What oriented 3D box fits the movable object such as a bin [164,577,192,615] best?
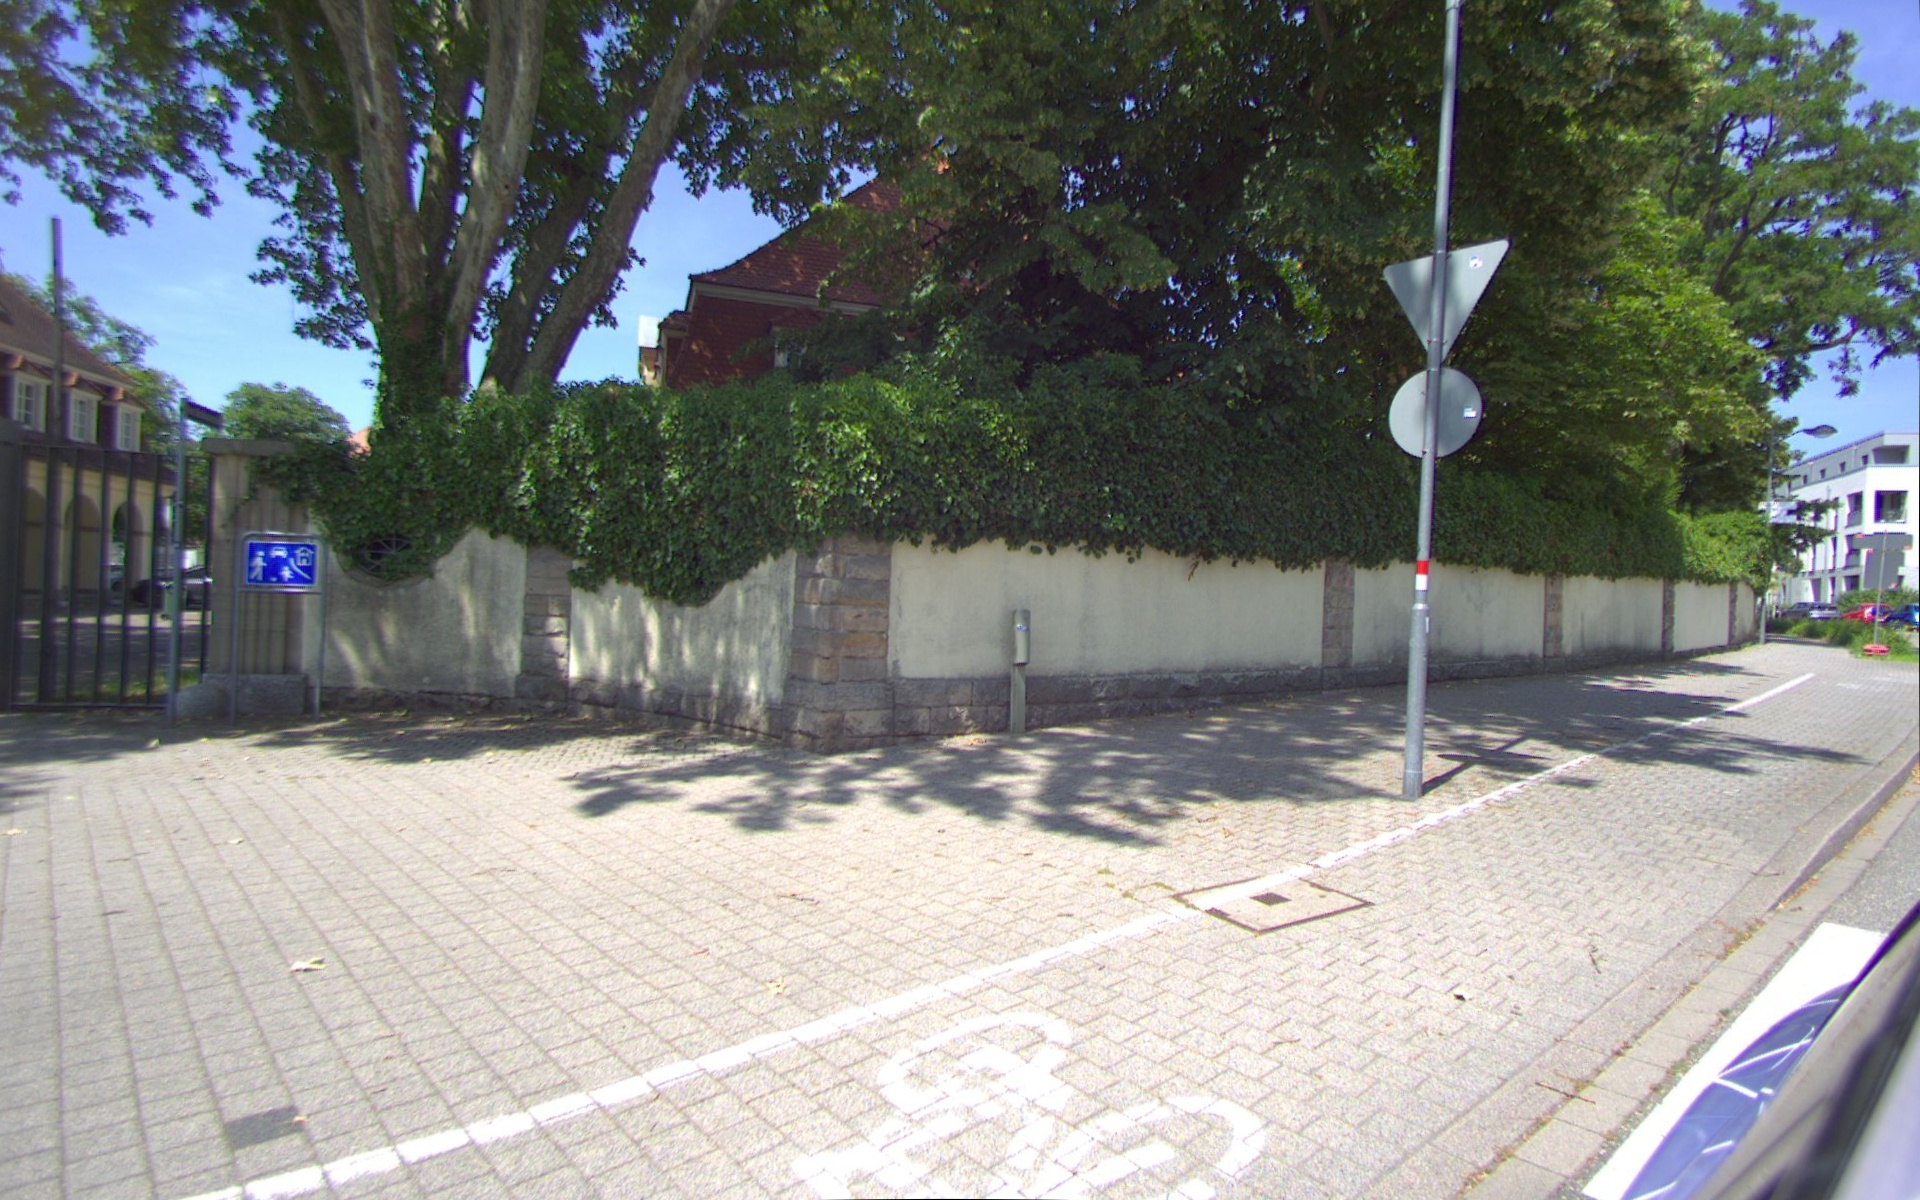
[{"bbox_3d":[-21.314,-0.122,27.586,0.526,1.021,0.529,1,1,45],"label":"movable object such as a bin"}]

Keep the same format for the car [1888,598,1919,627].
[{"bbox_3d":[50.849,0.662,53.217,1.686,1.431,3.698,1,1,19],"label":"car"}]

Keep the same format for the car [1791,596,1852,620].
[{"bbox_3d":[54.769,0.468,64.409,1.686,1.431,3.698,1,1,19],"label":"car"}]

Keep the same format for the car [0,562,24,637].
[{"bbox_3d":[-20.465,-0.191,18.516,4.408,1.420,2.004,6,-1,-14],"label":"car"}]

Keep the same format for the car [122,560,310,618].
[{"bbox_3d":[-24.184,-0.354,33.088,4.408,1.420,2.004,6,-1,-14],"label":"car"}]

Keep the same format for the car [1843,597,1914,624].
[{"bbox_3d":[52.840,0.568,58.282,1.686,1.431,3.698,1,1,19],"label":"car"}]
